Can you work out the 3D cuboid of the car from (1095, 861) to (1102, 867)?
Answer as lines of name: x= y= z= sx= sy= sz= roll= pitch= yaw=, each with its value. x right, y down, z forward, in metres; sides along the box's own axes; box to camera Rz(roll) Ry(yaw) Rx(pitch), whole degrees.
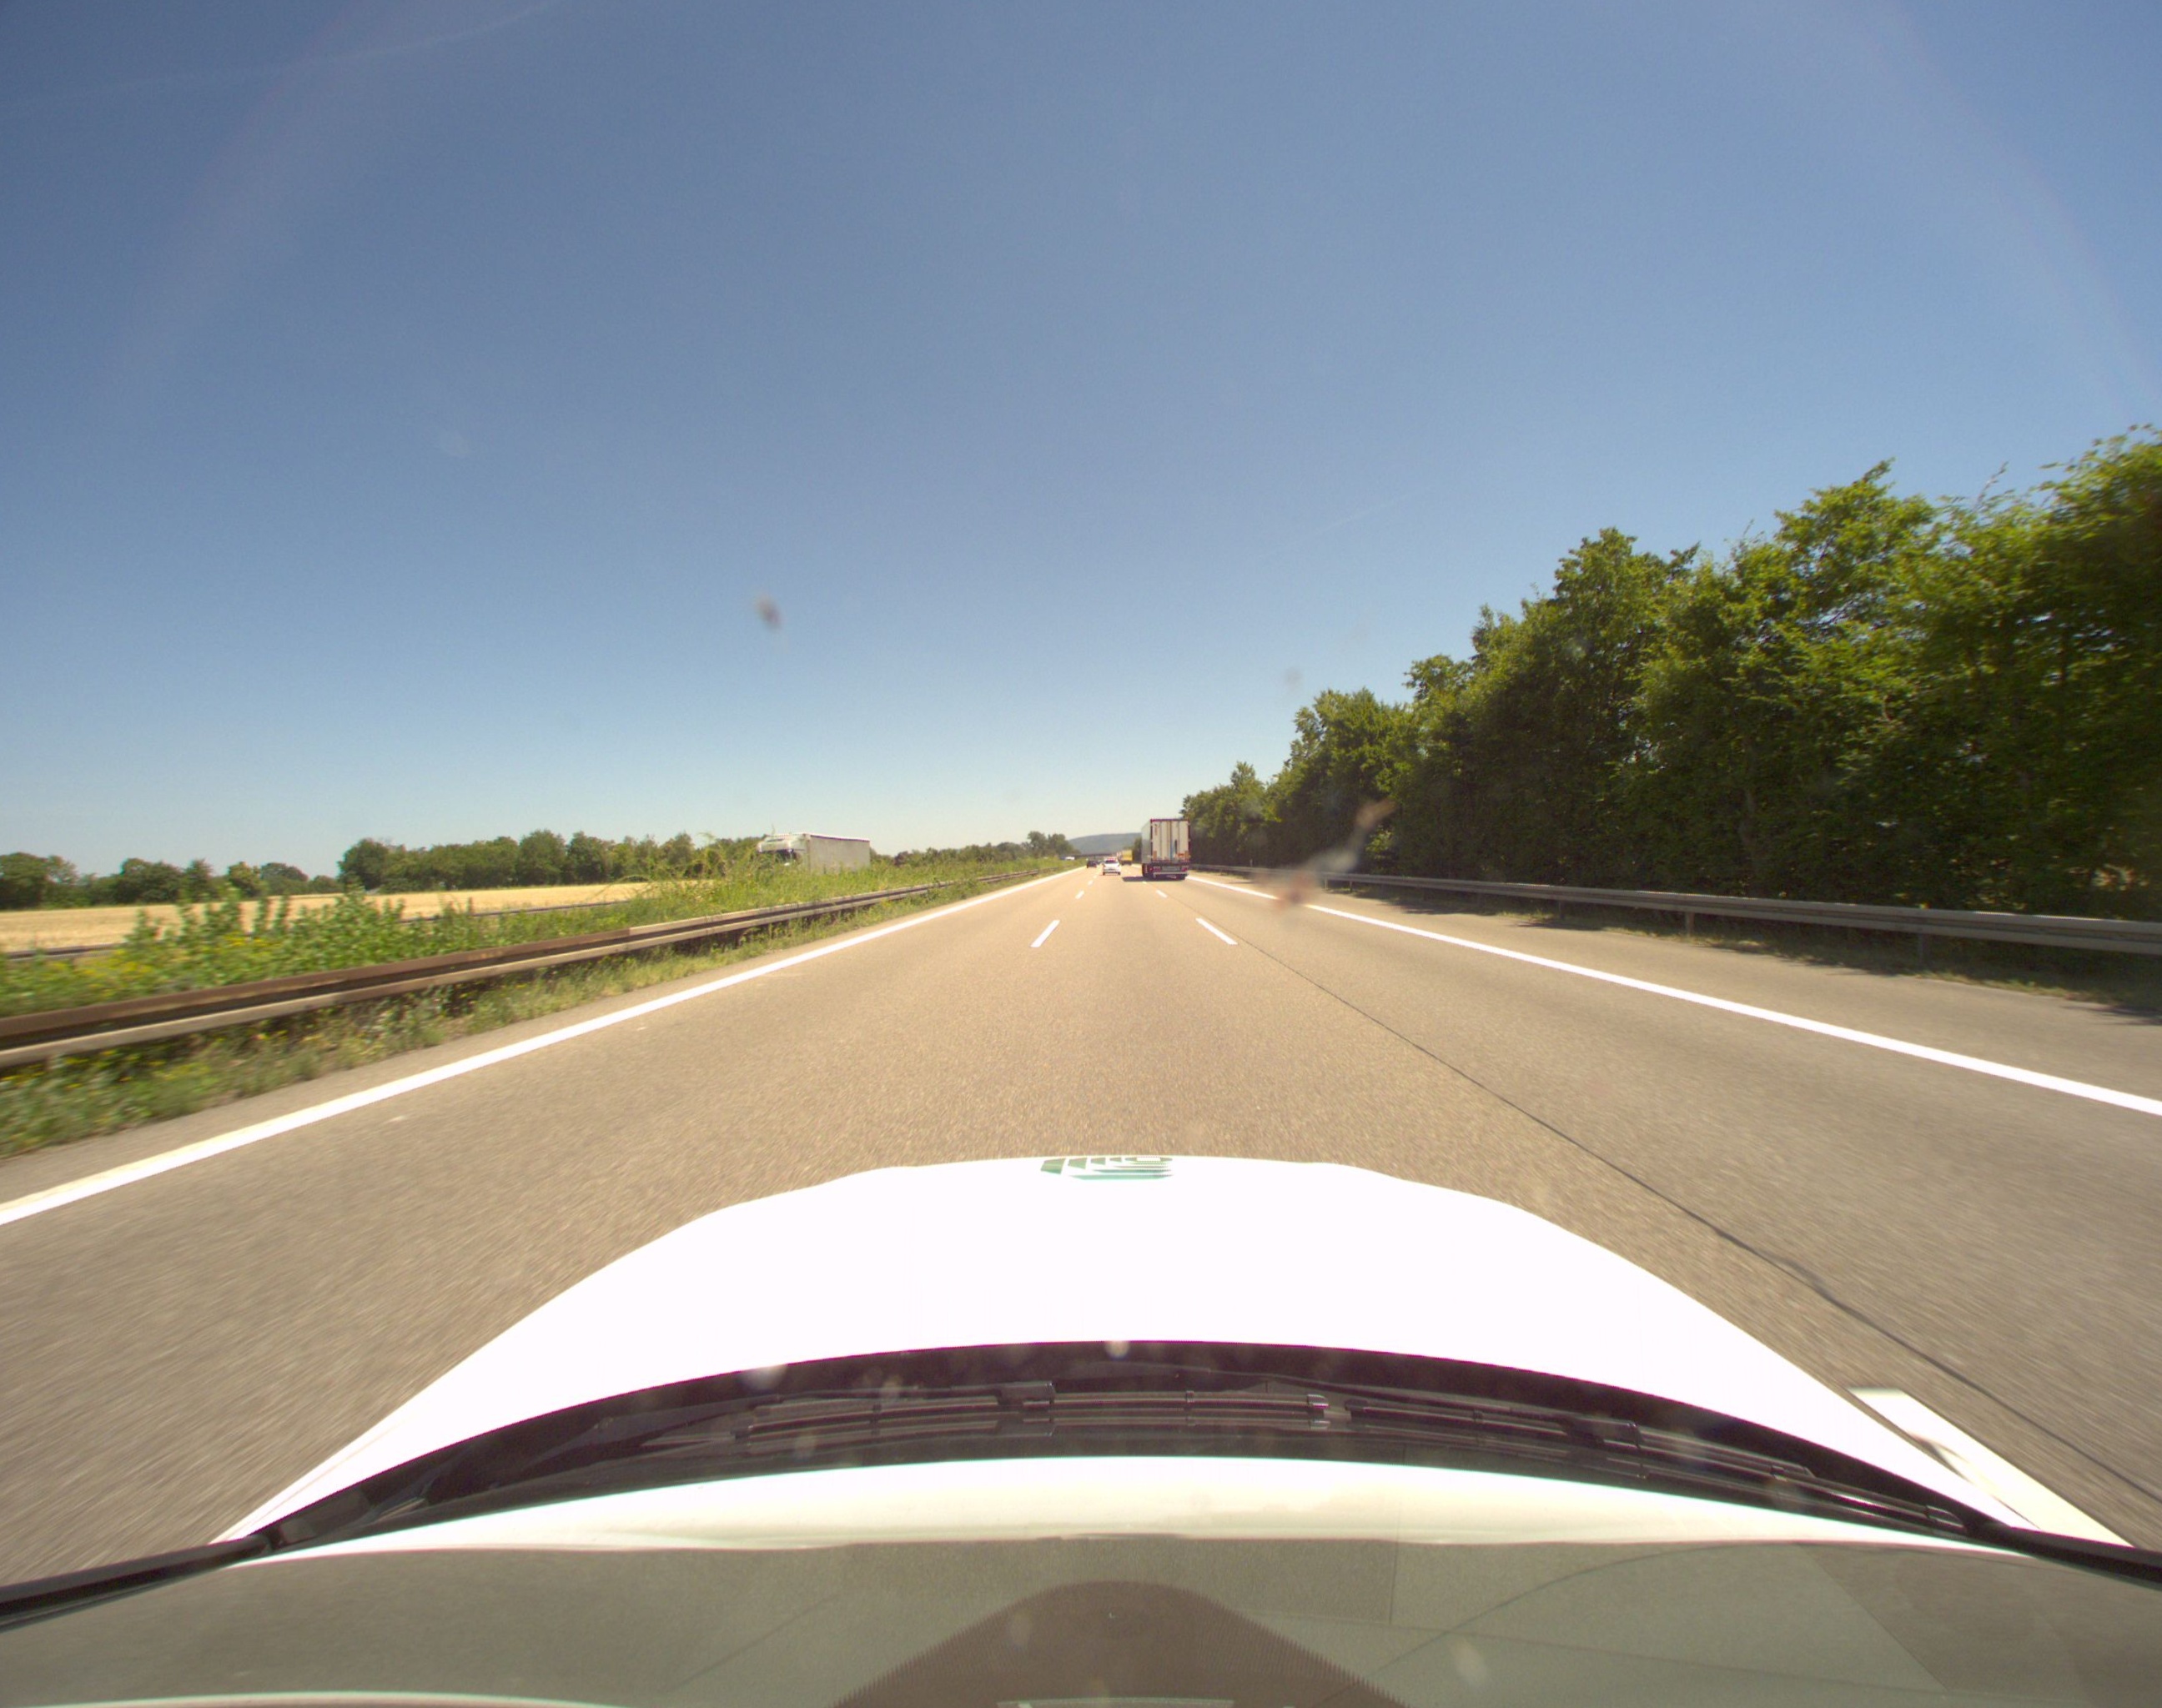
car: x=5.051 y=2.830 z=235.656 sx=1.788 sy=1.551 sz=4.002 roll=-1 pitch=-1 yaw=2

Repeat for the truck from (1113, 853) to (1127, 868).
truck: x=12.470 y=2.110 z=261.059 sx=4.255 sy=4.652 sz=13.866 roll=-1 pitch=-1 yaw=2

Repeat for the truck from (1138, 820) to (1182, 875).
truck: x=6.487 y=-0.523 z=67.759 sx=3.206 sy=4.345 sz=6.593 roll=0 pitch=0 yaw=2

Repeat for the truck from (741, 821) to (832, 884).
truck: x=-18.087 y=-0.077 z=50.461 sx=3.338 sy=3.698 sz=6.064 roll=0 pitch=0 yaw=0

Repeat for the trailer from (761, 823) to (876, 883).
trailer: x=-18.028 y=-0.052 z=57.439 sx=3.338 sy=3.698 sz=14.382 roll=0 pitch=0 yaw=0

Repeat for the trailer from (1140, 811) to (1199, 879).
trailer: x=6.219 y=-0.540 z=59.328 sx=3.206 sy=4.345 sz=13.634 roll=0 pitch=0 yaw=2

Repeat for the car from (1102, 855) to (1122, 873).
car: x=2.947 y=0.925 z=77.729 sx=1.726 sy=1.684 sz=4.001 roll=-2 pitch=0 yaw=1

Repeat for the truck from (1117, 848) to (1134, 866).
truck: x=10.967 y=0.692 z=201.502 sx=3.856 sy=4.345 sz=13.867 roll=0 pitch=0 yaw=2

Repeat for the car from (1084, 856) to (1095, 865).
car: x=1.529 y=1.171 z=147.975 sx=1.986 sy=1.712 sz=4.001 roll=0 pitch=0 yaw=1
